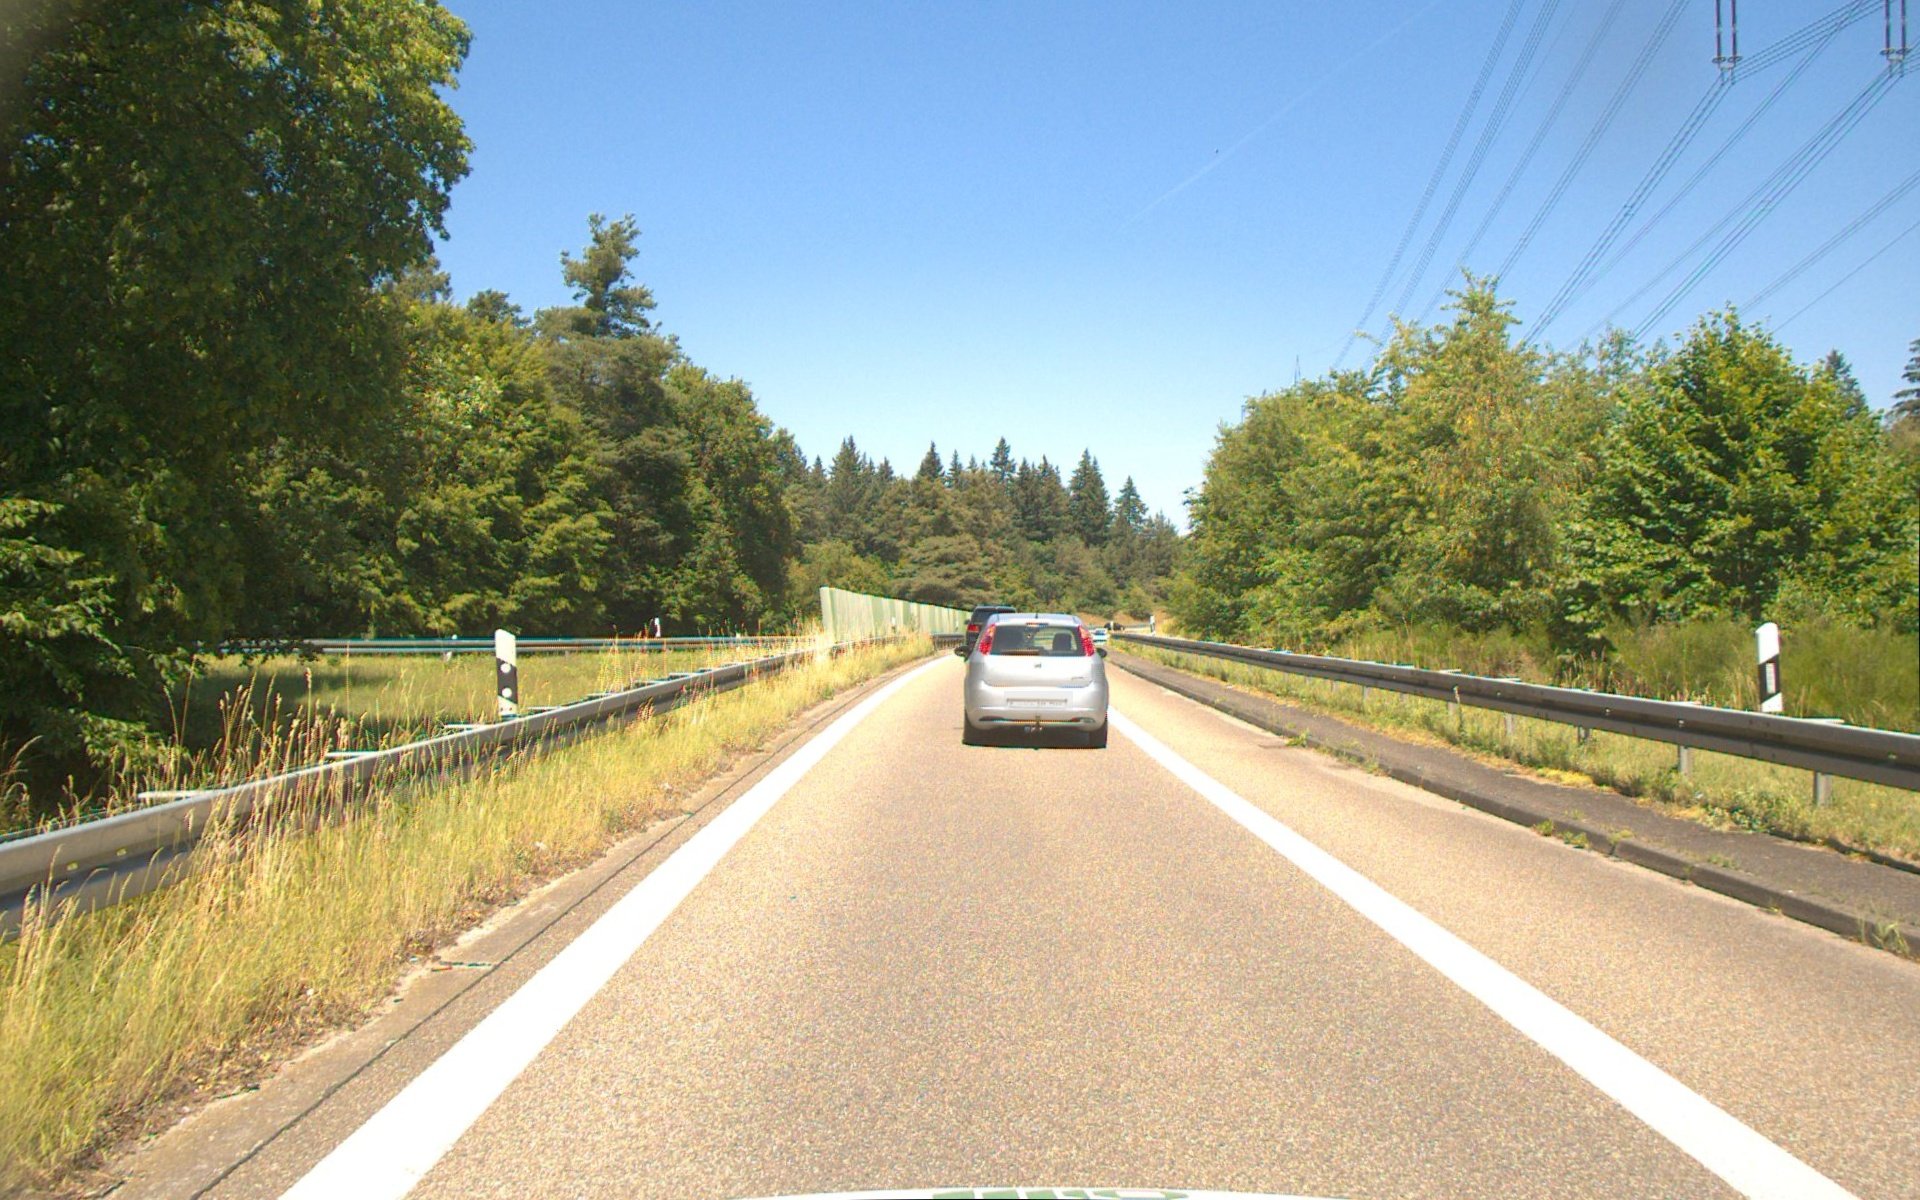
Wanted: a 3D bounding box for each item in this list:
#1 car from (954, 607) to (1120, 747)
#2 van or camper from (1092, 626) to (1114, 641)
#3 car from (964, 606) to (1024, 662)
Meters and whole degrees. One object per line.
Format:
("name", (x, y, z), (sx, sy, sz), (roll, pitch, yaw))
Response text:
("car", (0.838, 0.856, 19.693), (1.672, 1.508, 3.396), (1, -1, -2))
("van or camper", (14.992, 3.536, 172.961), (1.768, 1.512, 4.003), (0, 0, 13))
("car", (1.056, 1.058, 52.360), (1.672, 1.705, 3.396), (1, -1, -2))
